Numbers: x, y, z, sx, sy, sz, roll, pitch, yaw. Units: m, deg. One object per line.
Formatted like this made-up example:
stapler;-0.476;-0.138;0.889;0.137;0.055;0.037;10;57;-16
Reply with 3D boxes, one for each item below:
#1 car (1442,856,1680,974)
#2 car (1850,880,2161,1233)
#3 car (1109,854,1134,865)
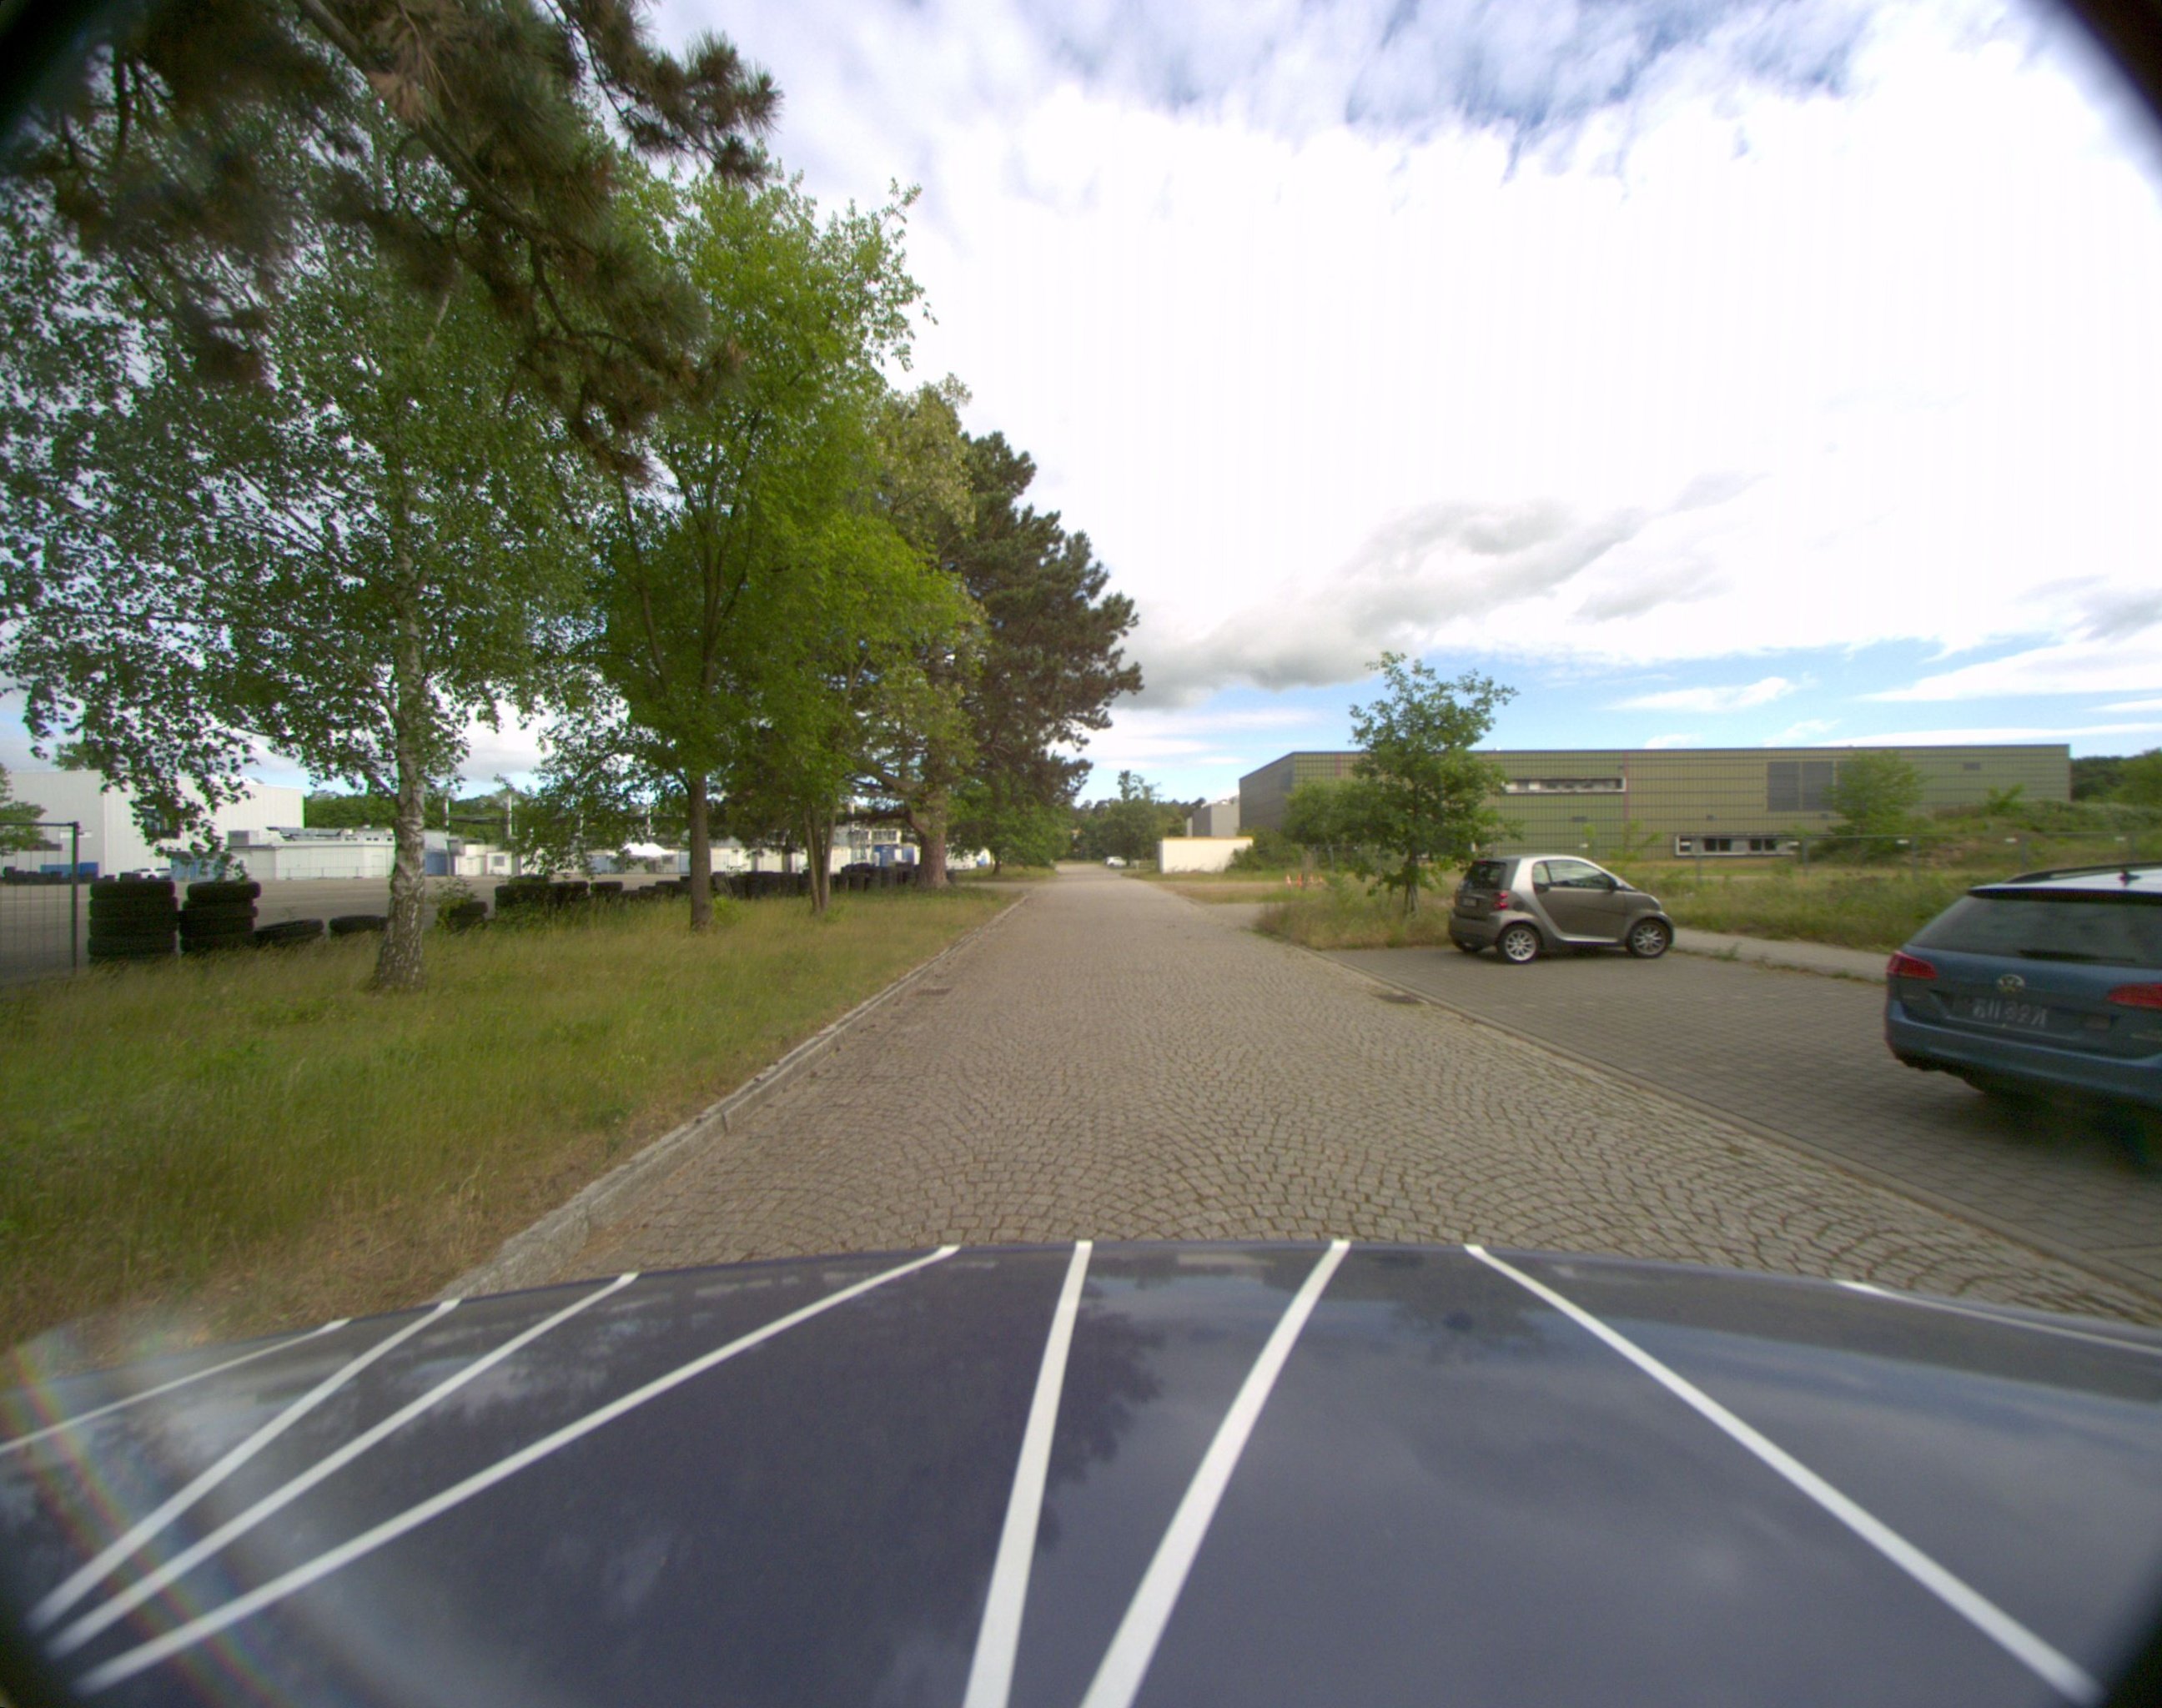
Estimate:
car;7.098;0.852;11.399;2.584;1.521;1.500;-3;1;-2
car;7.074;0.890;4.030;4.427;1.461;1.633;-3;1;-2
car;6.576;0.886;123.834;4.062;1.767;1.792;-1;1;0
